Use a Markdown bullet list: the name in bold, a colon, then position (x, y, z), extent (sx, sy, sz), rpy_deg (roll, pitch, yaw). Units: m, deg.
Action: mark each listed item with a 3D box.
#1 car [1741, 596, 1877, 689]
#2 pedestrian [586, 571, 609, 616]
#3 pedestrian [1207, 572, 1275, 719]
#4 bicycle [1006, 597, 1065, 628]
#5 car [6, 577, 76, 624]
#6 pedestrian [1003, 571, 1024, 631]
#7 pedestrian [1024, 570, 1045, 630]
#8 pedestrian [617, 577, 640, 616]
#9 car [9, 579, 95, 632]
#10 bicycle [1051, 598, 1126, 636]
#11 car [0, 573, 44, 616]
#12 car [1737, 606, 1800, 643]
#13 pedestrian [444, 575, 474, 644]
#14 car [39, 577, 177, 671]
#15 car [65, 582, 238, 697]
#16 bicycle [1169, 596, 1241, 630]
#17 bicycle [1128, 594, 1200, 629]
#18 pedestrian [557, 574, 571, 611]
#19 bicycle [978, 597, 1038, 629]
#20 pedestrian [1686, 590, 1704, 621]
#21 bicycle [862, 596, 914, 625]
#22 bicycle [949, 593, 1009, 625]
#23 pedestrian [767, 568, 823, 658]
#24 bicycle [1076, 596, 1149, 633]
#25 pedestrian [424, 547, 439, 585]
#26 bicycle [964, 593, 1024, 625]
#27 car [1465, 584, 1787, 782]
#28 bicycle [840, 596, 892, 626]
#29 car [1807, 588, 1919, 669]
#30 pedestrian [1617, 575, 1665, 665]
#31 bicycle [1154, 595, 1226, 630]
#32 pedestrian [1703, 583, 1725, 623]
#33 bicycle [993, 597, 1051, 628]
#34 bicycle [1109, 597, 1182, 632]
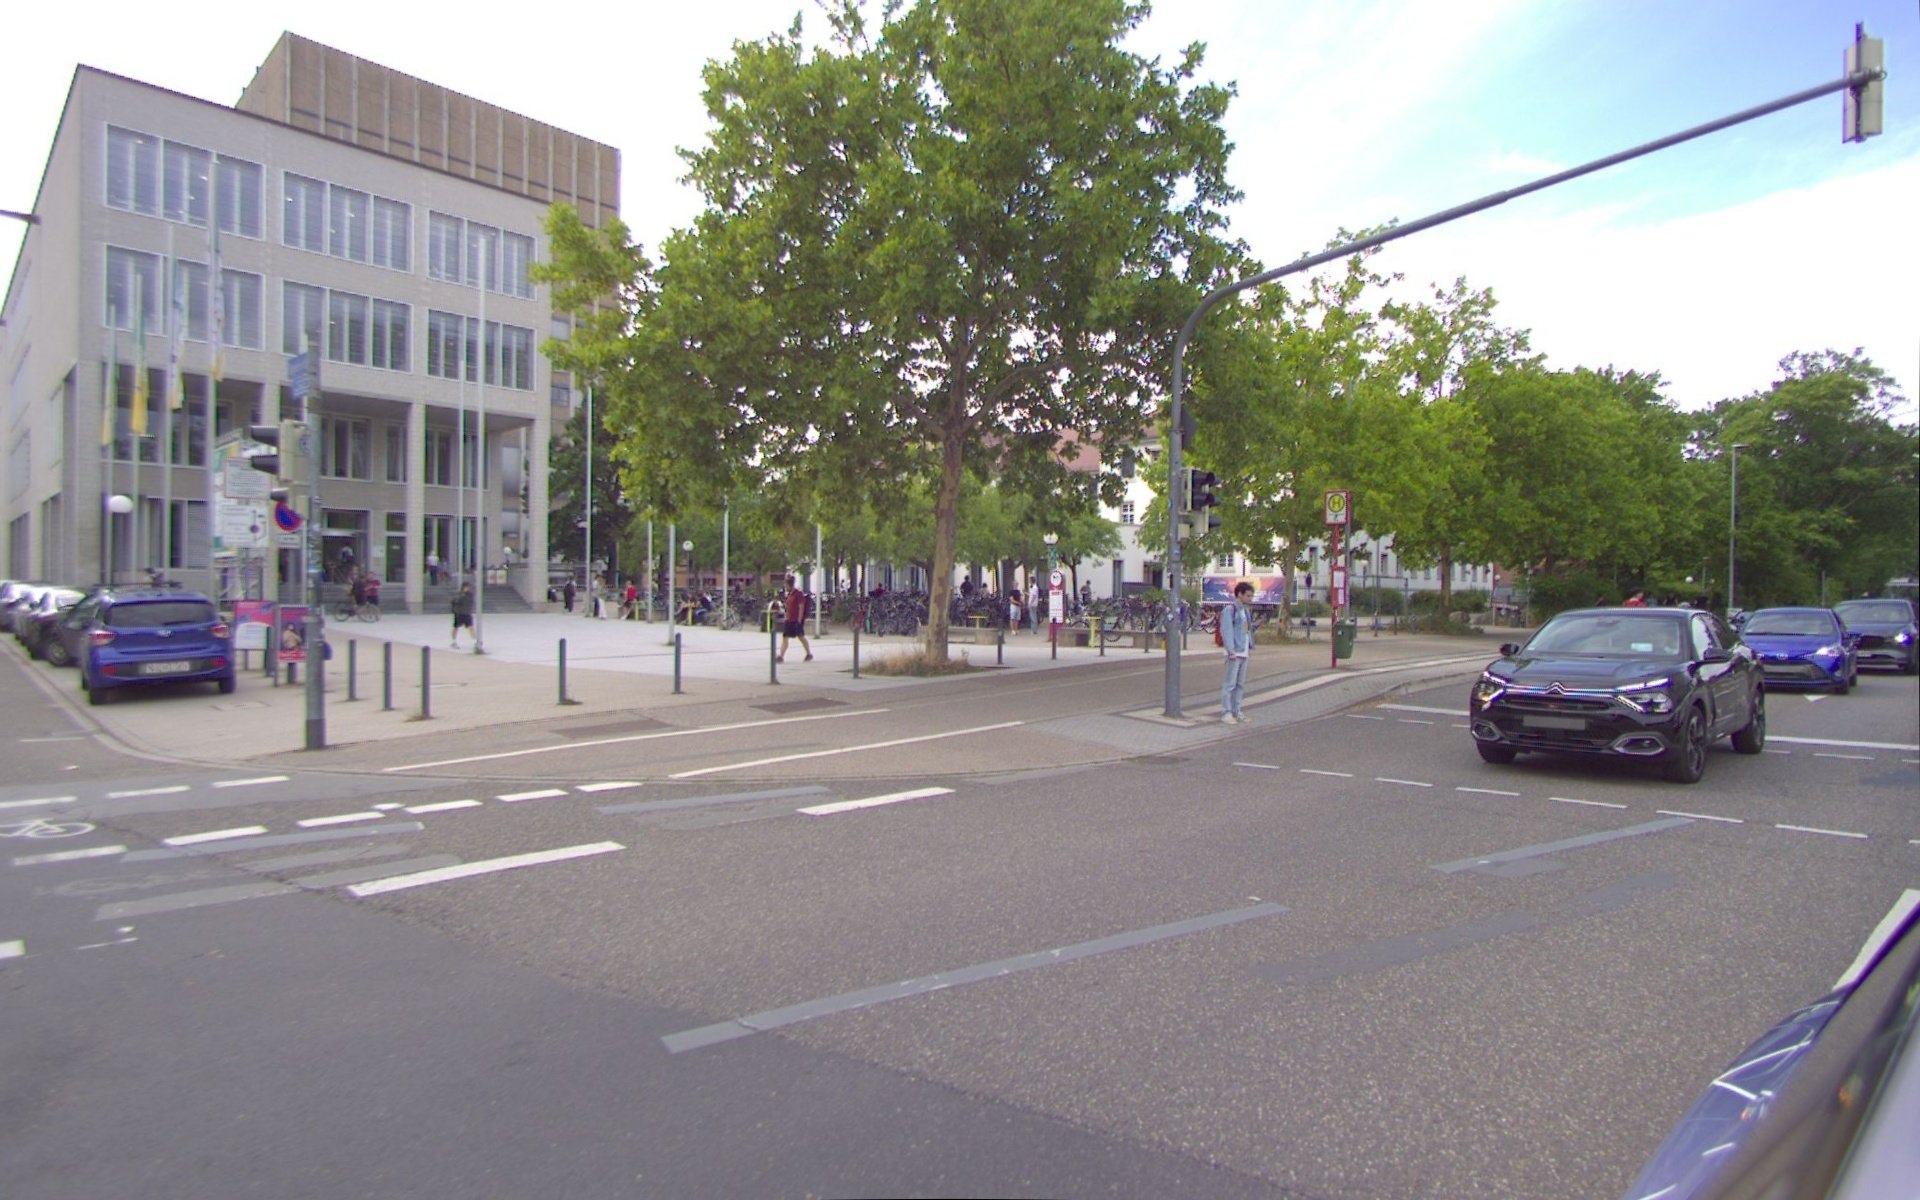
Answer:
- **car**: position (15.644, 0.690, 18.586), extent (1.699, 1.512, 3.771), rpy_deg (1, 0, 44)
- **pedestrian**: position (-15.387, -0.274, 42.901), extent (0.721, 1.867, 0.596), rpy_deg (-1, -1, 30)
- **pedestrian**: position (3.632, 0.562, 13.069), extent (0.670, 1.840, 0.574), rpy_deg (0, 0, -42)
- **bicycle**: position (2.954, 0.475, 39.832), extent (0.706, 1.157, 2.468), rpy_deg (0, 0, -44)
- **car**: position (-32.793, -0.013, 36.073), extent (3.977, 1.586, 1.648), rpy_deg (0, 1, 45)
- **pedestrian**: position (1.802, 0.029, 34.027), extent (0.674, 1.988, 0.601), rpy_deg (-1, -1, 5)
- **pedestrian**: position (2.497, 0.005, 33.958), extent (0.674, 1.988, 0.601), rpy_deg (-1, -1, 5)
- **pedestrian**: position (-13.679, -0.136, 41.747), extent (0.722, 1.617, 0.595), rpy_deg (-1, -1, 32)
- **car**: position (-28.960, 0.140, 32.233), extent (4.216, 1.586, 1.786), rpy_deg (0, 1, 45)
- **bicycle**: position (4.060, 0.508, 32.194), extent (0.706, 1.157, 2.468), rpy_deg (0, 0, -44)
- **car**: position (-36.571, -0.215, 38.977), extent (3.977, 1.586, 1.725), rpy_deg (0, 1, 45)
- **car**: position (33.056, 0.980, 41.331), extent (1.699, 1.386, 3.771), rpy_deg (1, 0, 44)
- **pedestrian**: position (-13.001, 0.243, 26.250), extent (0.687, 1.730, 0.956), rpy_deg (0, -1, -26)
- **car**: position (-15.951, 0.382, 18.897), extent (3.684, 1.586, 1.648), rpy_deg (0, 1, 45)
- **car**: position (-12.250, 0.503, 15.264), extent (3.572, 1.510, 1.648), rpy_deg (0, 1, 45)
- **bicycle**: position (8.612, 0.441, 35.675), extent (0.706, 1.157, 2.468), rpy_deg (0, 0, -44)
- **bicycle**: position (6.990, 0.375, 34.742), extent (0.706, 1.157, 2.468), rpy_deg (0, 0, -44)
- **pedestrian**: position (-18.052, -0.338, 46.088), extent (0.590, 1.661, 0.634), rpy_deg (0, -1, -22)
- **bicycle**: position (1.812, 0.483, 38.681), extent (0.706, 1.157, 2.468), rpy_deg (0, 0, -44)
- **pedestrian**: position (37.010, 0.271, 50.983), extent (0.644, 1.585, 0.792), rpy_deg (0, 0, 43)
- **bicycle**: position (-2.942, 0.405, 41.249), extent (0.706, 1.157, 2.468), rpy_deg (0, 0, -44)
- **bicycle**: position (0.678, 0.321, 37.568), extent (0.706, 1.157, 2.468), rpy_deg (0, 0, -44)
- **pedestrian**: position (-3.446, 0.273, 21.149), extent (0.876, 1.827, 0.768), rpy_deg (0, -1, -41)
- **bicycle**: position (4.942, 0.460, 32.966), extent (0.706, 1.157, 2.468), rpy_deg (0, 0, -44)
- **pedestrian**: position (-24.985, -1.596, 47.841), extent (0.619, 1.736, 0.673), rpy_deg (0, -1, -28)
- **bicycle**: position (1.260, 0.312, 38.144), extent (0.706, 1.157, 2.468), rpy_deg (0, 0, -44)
- **car**: position (6.794, 0.680, 10.144), extent (4.106, 1.576, 1.801), rpy_deg (0, -1, -44)
- **bicycle**: position (-3.773, 0.414, 40.415), extent (0.706, 1.157, 2.468), rpy_deg (0, 0, -44)
- **car**: position (21.024, 0.590, 23.137), extent (4.564, 1.670, 1.902), rpy_deg (0, 0, -42)
- **pedestrian**: position (14.665, 0.411, 21.792), extent (0.725, 1.877, 1.048), rpy_deg (0, 0, 42)
- **bicycle**: position (7.957, 0.425, 35.076), extent (0.706, 1.157, 2.468), rpy_deg (0, 0, -44)
- **pedestrian**: position (37.585, 0.136, 50.474), extent (0.796, 1.958, 0.748), rpy_deg (0, 0, 44)
- **bicycle**: position (2.389, 0.481, 39.268), extent (0.706, 1.157, 2.468), rpy_deg (0, 0, -44)
- **bicycle**: position (6.251, 0.472, 34.224), extent (0.706, 1.157, 2.468), rpy_deg (0, 0, -44)
